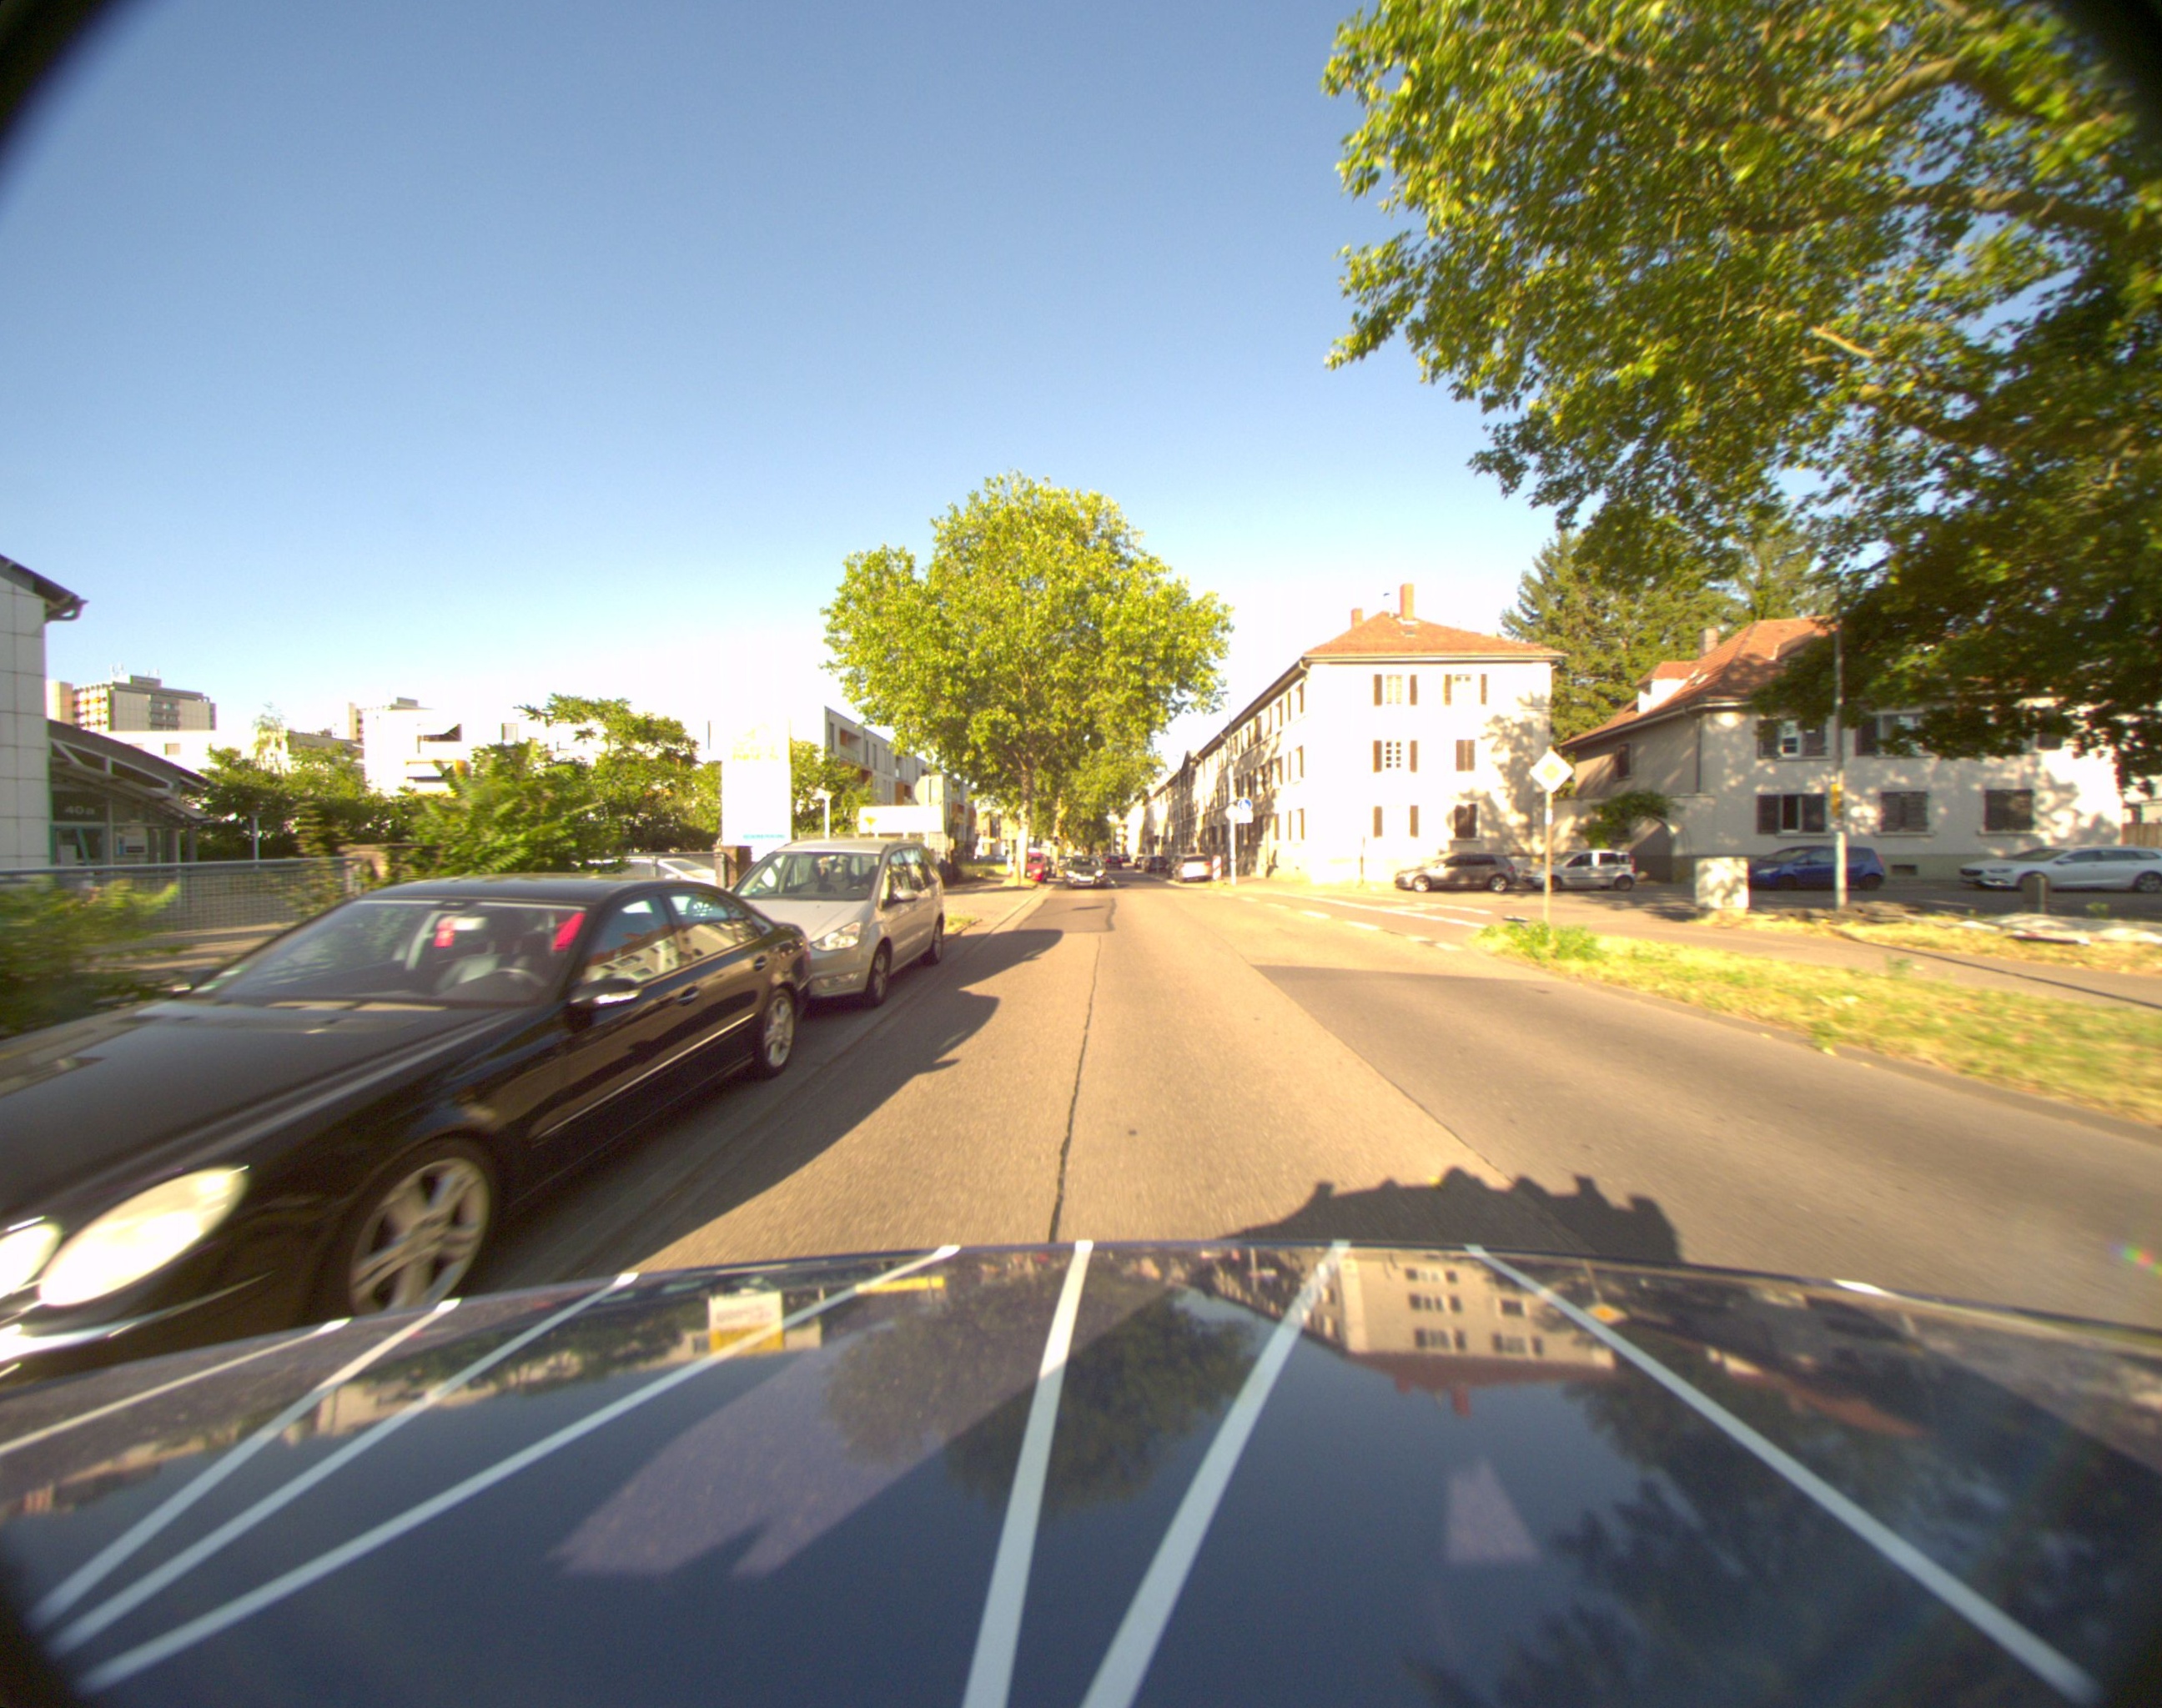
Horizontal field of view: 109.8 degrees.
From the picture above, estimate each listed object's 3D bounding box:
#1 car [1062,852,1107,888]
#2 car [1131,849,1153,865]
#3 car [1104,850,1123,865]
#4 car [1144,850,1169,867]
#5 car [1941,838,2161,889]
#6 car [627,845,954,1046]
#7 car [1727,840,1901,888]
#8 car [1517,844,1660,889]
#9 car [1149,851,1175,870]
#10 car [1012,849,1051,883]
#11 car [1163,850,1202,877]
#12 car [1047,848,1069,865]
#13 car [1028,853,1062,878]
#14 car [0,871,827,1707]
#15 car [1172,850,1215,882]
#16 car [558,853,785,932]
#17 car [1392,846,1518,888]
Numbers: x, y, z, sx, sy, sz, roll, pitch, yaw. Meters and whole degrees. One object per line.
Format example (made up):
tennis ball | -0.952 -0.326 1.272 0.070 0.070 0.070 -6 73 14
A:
car | 0.106 0.667 33.765 1.870 1.471 4.085 -1 1 -1
car | 6.429 0.308 80.427 1.870 1.603 4.086 -2 0 -1
car | 3.542 0.350 83.120 1.901 1.581 4.069 0 0 0
car | 7.008 0.413 70.669 1.870 1.475 4.086 -3 0 0
car | 31.920 0.308 24.937 4.671 1.552 1.866 -1 1 13
car | -2.995 0.792 9.231 1.998 1.749 4.916 -1 1 0
car | 25.470 0.333 26.564 3.993 1.552 1.866 -1 2 13
car | 18.540 0.452 27.963 3.993 1.552 1.866 -1 1 13
car | 6.805 0.514 64.429 1.869 1.475 4.087 -3 0 3
car | -2.505 0.594 39.520 1.602 1.680 4.336 0 0 2
car | 6.068 0.547 45.740 1.711 1.498 4.053 -3 0 -1
car | -2.260 0.266 75.713 1.869 1.603 4.086 1 0 1
car | -2.334 0.708 50.386 1.704 1.472 4.697 2 0 3
car | -2.975 0.921 3.831 1.786 1.507 4.689 0 1 0
car | 5.808 0.584 39.581 1.765 1.475 4.108 -3 0 3
car | -8.994 0.813 16.927 3.996 1.551 1.841 -2 1 2
car | 14.158 0.488 29.036 3.993 1.411 1.915 -1 4 13
